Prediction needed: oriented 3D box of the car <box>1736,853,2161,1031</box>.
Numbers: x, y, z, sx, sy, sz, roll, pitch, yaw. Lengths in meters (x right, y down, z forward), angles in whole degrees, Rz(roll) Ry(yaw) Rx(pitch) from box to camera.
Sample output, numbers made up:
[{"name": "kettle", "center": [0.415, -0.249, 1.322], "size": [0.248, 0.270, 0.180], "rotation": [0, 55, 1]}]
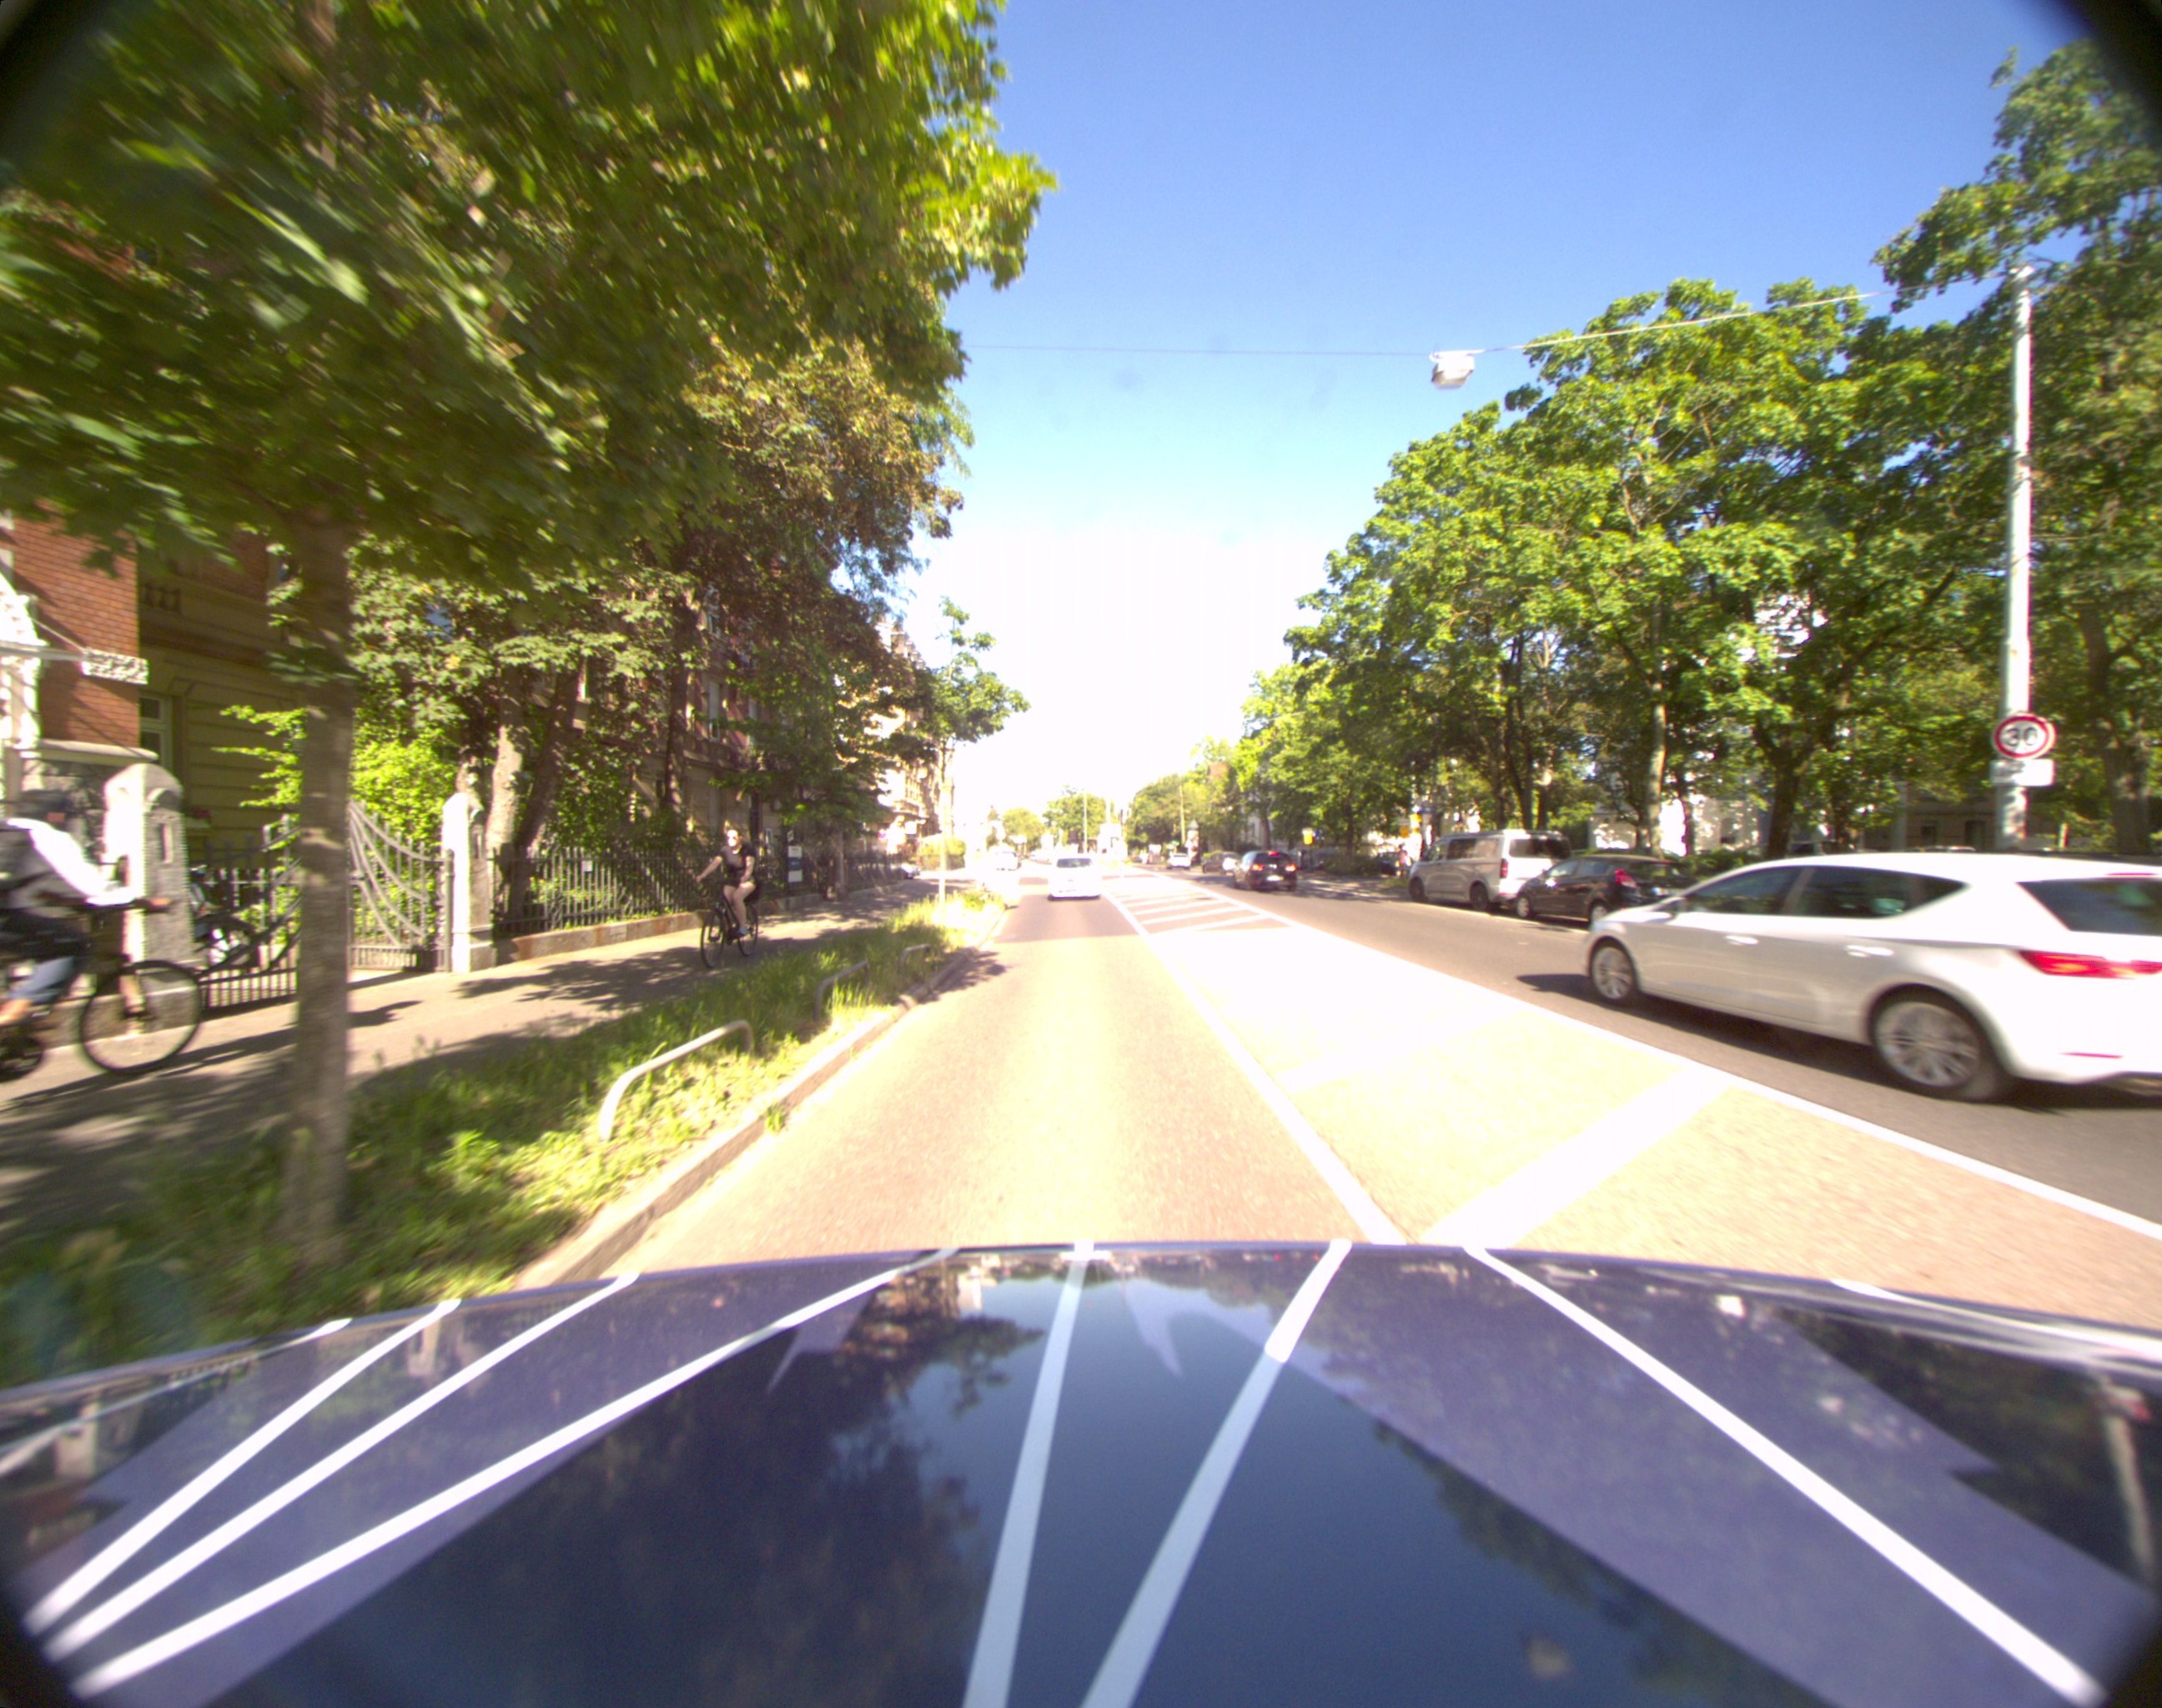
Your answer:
[{"name": "car", "center": [10.136, 0.771, 8.610], "size": [1.594, 1.474, 4.270], "rotation": [1, 1, -2]}]

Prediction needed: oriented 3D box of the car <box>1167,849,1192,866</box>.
[{"name": "car", "center": [8.740, 0.282, 67.707], "size": [1.808, 1.485, 4.713], "rotation": [-1, 0, 3]}]

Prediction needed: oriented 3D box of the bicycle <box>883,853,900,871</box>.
[{"name": "bicycle", "center": [-12.631, 0.507, 50.667], "size": [0.735, 1.128, 2.017], "rotation": [-1, 2, -4]}]

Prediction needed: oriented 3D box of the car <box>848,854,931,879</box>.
[{"name": "car", "center": [-11.363, 0.735, 45.339], "size": [4.417, 1.409, 2.047], "rotation": [1, 1, 2]}]

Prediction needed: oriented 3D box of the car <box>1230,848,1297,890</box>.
[{"name": "car", "center": [6.783, 0.518, 28.609], "size": [1.596, 1.441, 4.133], "rotation": [0, 1, 1]}]

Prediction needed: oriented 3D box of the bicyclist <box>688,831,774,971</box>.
[{"name": "bicyclist", "center": [-4.478, 0.577, 9.773], "size": [0.647, 1.685, 0.889], "rotation": [3, 0, -1]}]

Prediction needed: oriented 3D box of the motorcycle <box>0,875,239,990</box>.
[{"name": "motorcycle", "center": [-10.057, 0.779, 7.930], "size": [1.879, 1.026, 0.781], "rotation": [1, 2, 9]}]

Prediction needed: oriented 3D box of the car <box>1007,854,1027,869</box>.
[{"name": "car", "center": [-7.331, 0.849, 87.276], "size": [1.893, 1.679, 4.698], "rotation": [-1, 1, -1]}]

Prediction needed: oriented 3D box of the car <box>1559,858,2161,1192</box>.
[{"name": "car", "center": [5.832, 0.792, 5.590], "size": [1.923, 1.411, 4.224], "rotation": [-1, 1, -1]}]

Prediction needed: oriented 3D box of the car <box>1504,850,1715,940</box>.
[{"name": "car", "center": [10.288, 0.709, 15.180], "size": [1.467, 1.493, 3.958], "rotation": [1, 1, 1]}]

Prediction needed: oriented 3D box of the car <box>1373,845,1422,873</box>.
[{"name": "car", "center": [20.168, 0.278, 48.592], "size": [1.891, 1.679, 4.703], "rotation": [0, 1, 10]}]

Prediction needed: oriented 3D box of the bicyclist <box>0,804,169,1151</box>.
[{"name": "bicyclist", "center": [-5.536, 0.587, 3.922], "size": [0.622, 1.680, 0.820], "rotation": [3, 1, -3]}]

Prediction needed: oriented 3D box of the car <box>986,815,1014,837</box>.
[{"name": "car", "center": [-6.054, -2.053, 57.037], "size": [1.847, 1.432, 4.104], "rotation": [2, 0, -3]}]

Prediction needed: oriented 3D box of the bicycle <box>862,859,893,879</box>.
[{"name": "bicycle", "center": [-11.421, 0.861, 42.573], "size": [2.013, 1.127, 0.586], "rotation": [-2, -2, 39]}]

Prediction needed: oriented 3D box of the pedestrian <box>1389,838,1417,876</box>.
[{"name": "pedestrian", "center": [15.020, 0.146, 35.488], "size": [0.872, 1.745, 0.819], "rotation": [-1, 1, -10]}]

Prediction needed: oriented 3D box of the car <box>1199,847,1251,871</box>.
[{"name": "car", "center": [9.487, 0.302, 50.381], "size": [1.846, 1.482, 3.774], "rotation": [0, 1, -18]}]

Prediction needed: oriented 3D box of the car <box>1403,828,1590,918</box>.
[{"name": "car", "center": [10.595, 0.433, 19.926], "size": [1.989, 2.024, 4.873], "rotation": [2, 0, -3]}]

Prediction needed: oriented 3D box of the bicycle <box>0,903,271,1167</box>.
[{"name": "bicycle", "center": [-5.553, 0.920, 3.974], "size": [0.617, 1.169, 1.918], "rotation": [3, 0, -3]}]

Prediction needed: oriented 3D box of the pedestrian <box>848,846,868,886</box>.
[{"name": "pedestrian", "center": [-10.653, 0.560, 36.330], "size": [0.695, 1.882, 0.765], "rotation": [-1, 1, -34]}]

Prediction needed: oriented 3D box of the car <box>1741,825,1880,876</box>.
[{"name": "car", "center": [34.233, -0.153, 35.886], "size": [1.893, 2.233, 4.917], "rotation": [0, 1, 1]}]

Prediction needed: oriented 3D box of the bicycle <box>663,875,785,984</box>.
[{"name": "bicycle", "center": [-4.491, 0.898, 9.713], "size": [0.654, 1.169, 1.843], "rotation": [3, 0, -1]}]

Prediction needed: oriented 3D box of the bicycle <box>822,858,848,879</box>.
[{"name": "bicycle", "center": [-13.691, 0.808, 42.344], "size": [0.584, 1.128, 2.020], "rotation": [0, 0, 6]}]

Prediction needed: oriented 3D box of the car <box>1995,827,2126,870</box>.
[{"name": "car", "center": [62.218, -0.356, 48.427], "size": [1.893, 2.608, 4.917], "rotation": [0, 1, 0]}]

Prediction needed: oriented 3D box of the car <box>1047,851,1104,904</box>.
[{"name": "car", "center": [-0.136, 0.731, 25.680], "size": [1.653, 1.449, 3.896], "rotation": [-6, 1, 1]}]

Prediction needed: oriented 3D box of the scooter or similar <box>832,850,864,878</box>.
[{"name": "scooter or similar", "center": [-11.071, 0.464, 36.159], "size": [0.759, 1.256, 1.411], "rotation": [2, 1, 17]}]

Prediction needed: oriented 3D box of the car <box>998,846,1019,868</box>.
[{"name": "car", "center": [-6.343, 0.237, 66.836], "size": [1.694, 1.862, 3.560], "rotation": [0, 0, -3]}]
